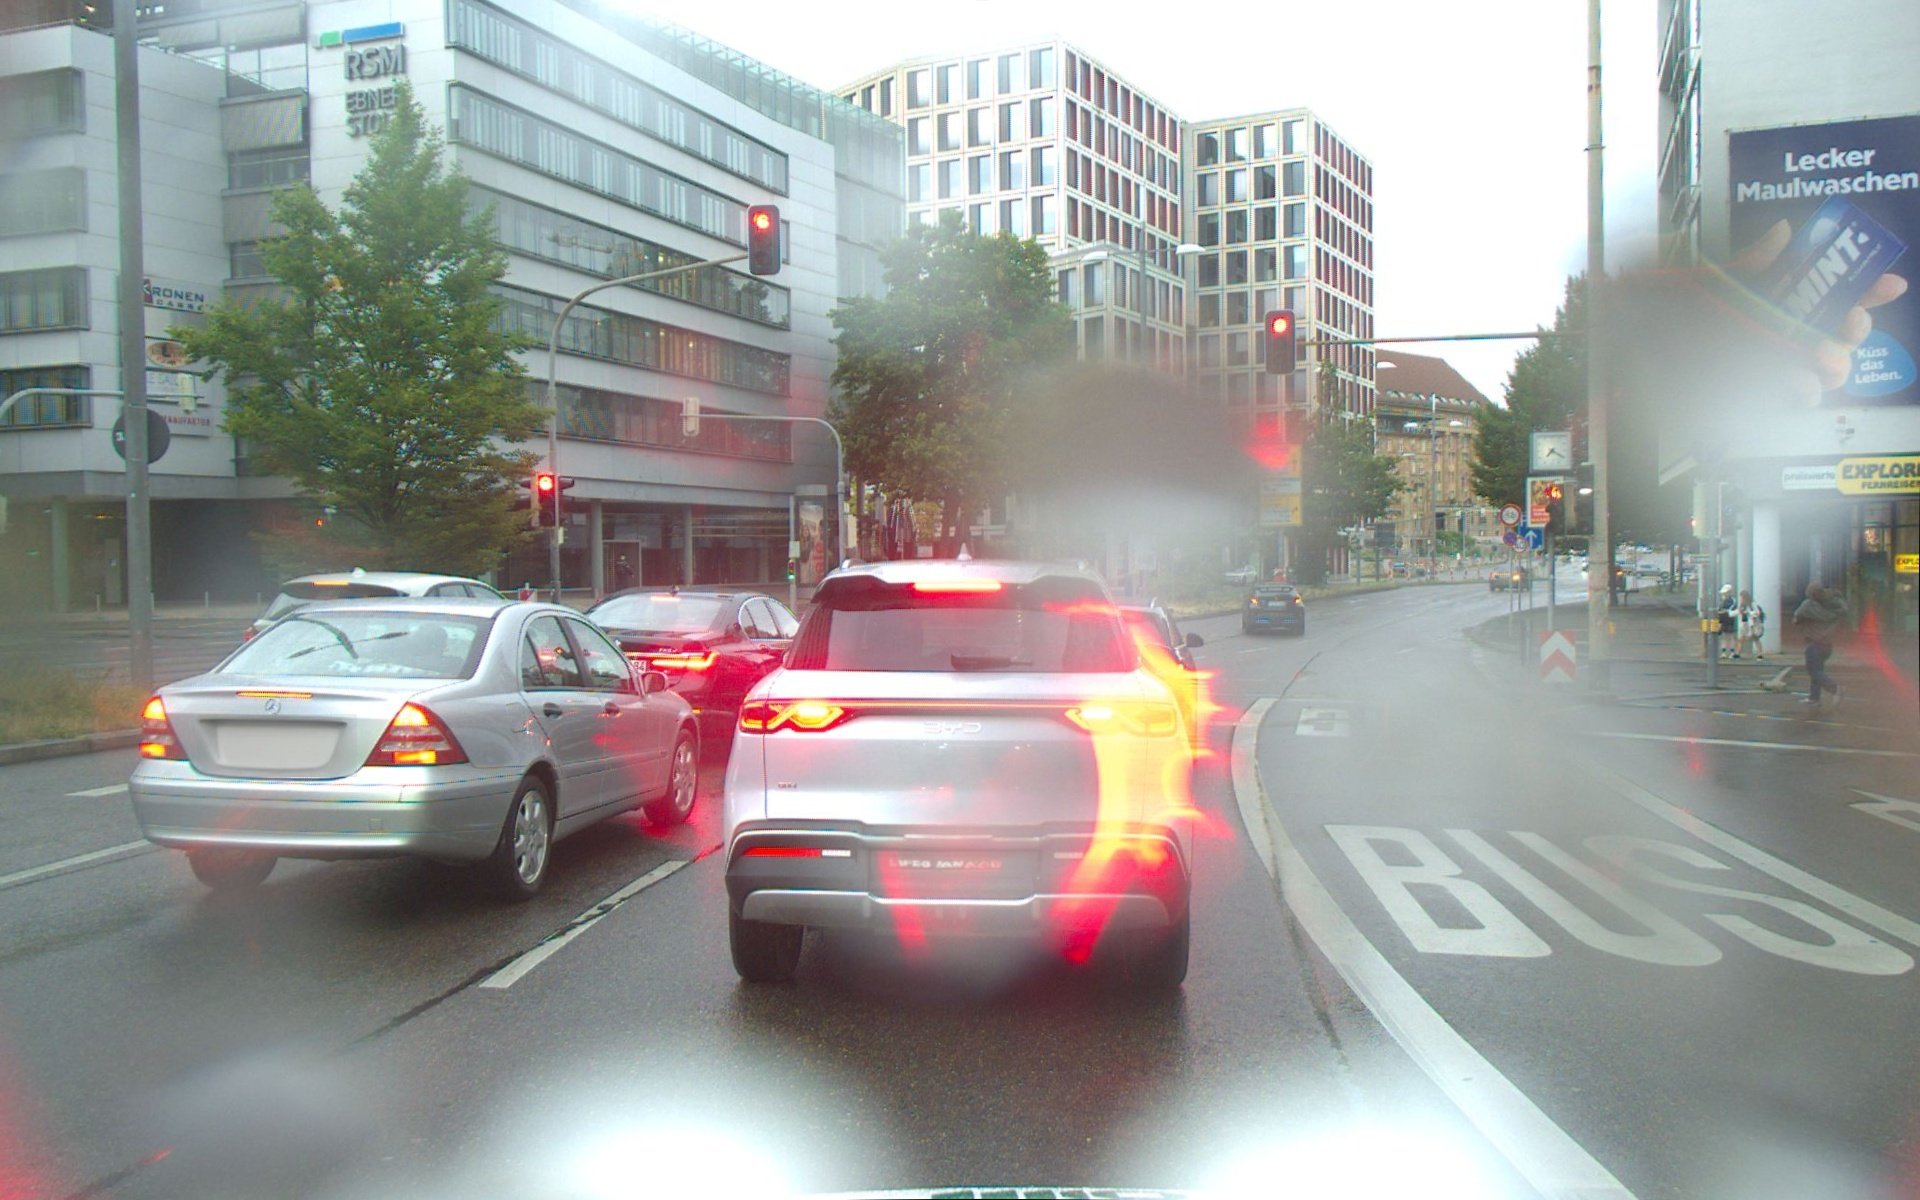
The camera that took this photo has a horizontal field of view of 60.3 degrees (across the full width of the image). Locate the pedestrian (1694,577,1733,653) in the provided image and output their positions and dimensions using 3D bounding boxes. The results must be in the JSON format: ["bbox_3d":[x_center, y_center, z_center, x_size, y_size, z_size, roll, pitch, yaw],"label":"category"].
[{"bbox_3d":[17.197,0.342,37.753,0.712,1.698,0.691,0,-1,15],"label":"pedestrian"}]

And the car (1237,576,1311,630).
[{"bbox_3d":[9.637,0.061,50.979,1.951,1.579,4.003,1,1,7],"label":"car"}]

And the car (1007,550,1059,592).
[{"bbox_3d":[4.032,-1.556,90.702,1.700,2.199,4.496,1,0,17],"label":"car"}]

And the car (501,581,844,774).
[{"bbox_3d":[-2.516,0.605,15.555,1.913,1.556,4.004,0,1,10],"label":"car"}]

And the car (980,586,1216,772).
[{"bbox_3d":[1.473,0.648,16.108,1.913,1.556,4.004,0,1,10],"label":"car"}]

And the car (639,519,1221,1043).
[{"bbox_3d":[0.046,0.576,7.788,1.951,1.739,4.485,0,1,4],"label":"car"}]

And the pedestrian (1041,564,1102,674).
[{"bbox_3d":[1.825,0.303,27.122,0.904,1.768,0.729,0,0,-6],"label":"pedestrian"}]

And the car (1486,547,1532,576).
[{"bbox_3d":[30.765,-2.153,92.635,1.872,1.536,4.353,2,1,26],"label":"car"}]

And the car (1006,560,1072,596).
[{"bbox_3d":[4.053,-1.135,84.664,1.955,1.735,3.997,1,2,27],"label":"car"}]

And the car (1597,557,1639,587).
[{"bbox_3d":[40.939,-1.735,102.894,2.007,1.796,4.351,2,1,27],"label":"car"}]

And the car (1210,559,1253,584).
[{"bbox_3d":[19.717,-2.099,120.026,1.955,1.735,4.305,1,2,26],"label":"car"}]

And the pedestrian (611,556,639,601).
[{"bbox_3d":[-13.297,-0.861,65.596,0.712,1.757,0.925,0,0,21],"label":"pedestrian"}]

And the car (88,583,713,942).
[{"bbox_3d":[-2.725,0.667,9.169,1.646,1.512,4.200,0,1,6],"label":"car"}]

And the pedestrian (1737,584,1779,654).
[{"bbox_3d":[17.901,0.426,37.112,0.712,1.551,0.760,0,-1,15],"label":"pedestrian"}]

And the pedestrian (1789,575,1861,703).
[{"bbox_3d":[12.605,0.556,24.126,0.795,1.830,0.711,0,0,15],"label":"pedestrian"}]

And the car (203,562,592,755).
[{"bbox_3d":[-5.283,0.473,16.152,1.844,1.624,4.004,0,1,11],"label":"car"}]
